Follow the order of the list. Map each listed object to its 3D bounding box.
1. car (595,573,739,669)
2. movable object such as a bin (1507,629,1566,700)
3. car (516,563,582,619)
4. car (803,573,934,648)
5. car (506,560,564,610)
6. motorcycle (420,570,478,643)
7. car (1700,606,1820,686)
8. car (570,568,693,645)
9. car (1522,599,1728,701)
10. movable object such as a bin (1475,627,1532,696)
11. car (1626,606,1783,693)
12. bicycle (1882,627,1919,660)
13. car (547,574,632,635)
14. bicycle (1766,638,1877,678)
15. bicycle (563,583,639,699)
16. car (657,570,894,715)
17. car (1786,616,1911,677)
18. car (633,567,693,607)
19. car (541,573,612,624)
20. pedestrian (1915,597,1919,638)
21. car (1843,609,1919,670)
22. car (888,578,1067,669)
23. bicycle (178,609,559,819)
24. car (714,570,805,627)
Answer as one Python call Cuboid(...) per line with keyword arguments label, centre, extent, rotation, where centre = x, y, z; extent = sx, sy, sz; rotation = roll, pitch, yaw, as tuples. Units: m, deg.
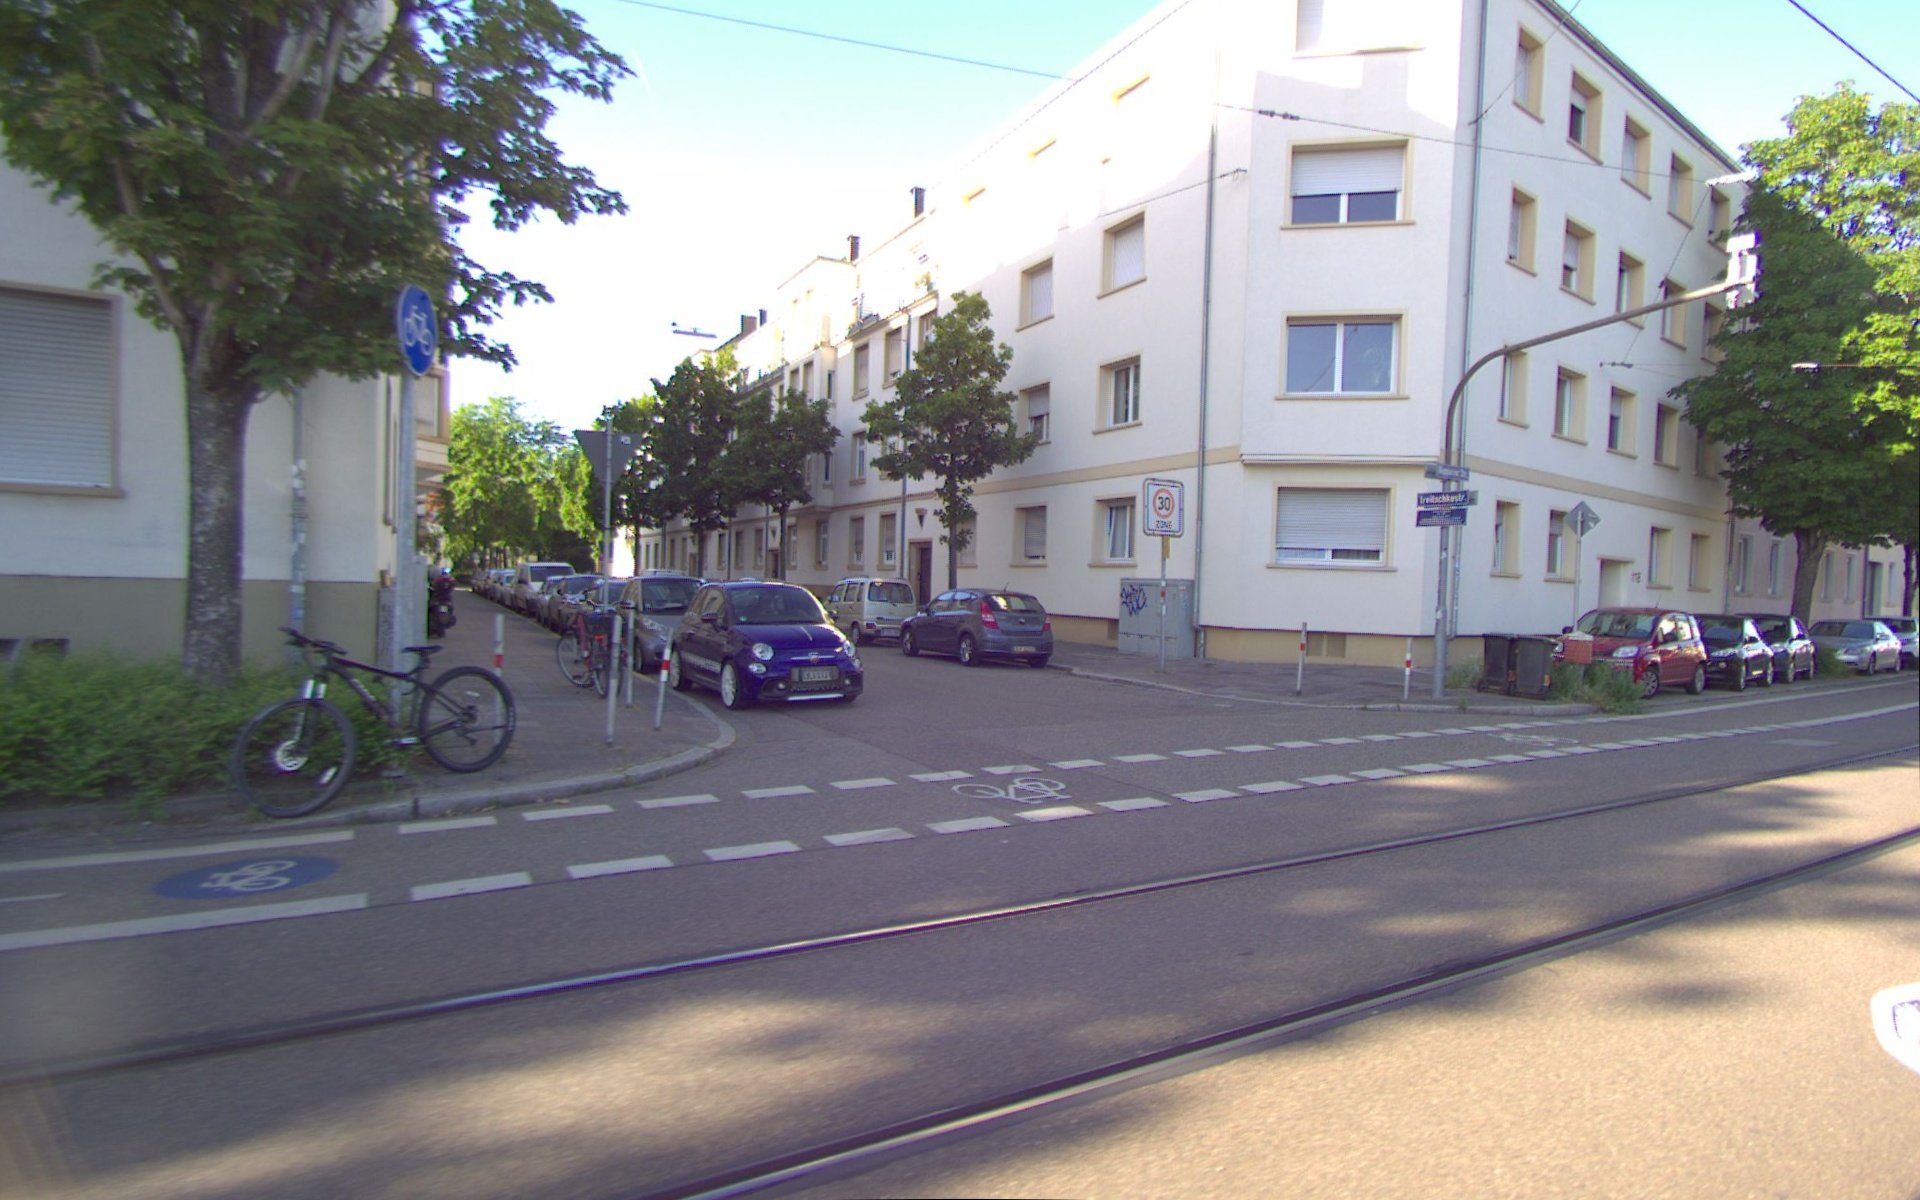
Cuboid(label="car", centre=(-5.147, 0.303, 17.375), extent=(1.560, 1.477, 3.490), rotation=(1, 1, -31))
Cuboid(label="movable object such as a bin", centre=(8.589, 0.950, 14.969), extent=(0.653, 1.001, 0.481), rotation=(1, 2, -35))
Cuboid(label="car", centre=(-14.753, -0.337, 35.944), extent=(1.720, 1.859, 3.491), rotation=(1, 1, -30))
Cuboid(label="car", centre=(-2.441, 0.228, 25.842), extent=(1.884, 1.675, 3.968), rotation=(1, 2, -29))
Cuboid(label="car", centre=(-16.873, -0.616, 39.795), extent=(1.720, 1.859, 3.491), rotation=(1, 1, -30))
Cuboid(label="motorcycle", centre=(-10.062, 0.107, 19.713), extent=(0.619, 1.324, 2.527), rotation=(3, -1, -35))
Cuboid(label="car", centre=(18.855, 1.025, 23.617), extent=(3.704, 1.635, 1.576), rotation=(1, 2, -42))
Cuboid(label="car", centre=(-7.115, 0.099, 21.483), extent=(1.690, 1.477, 4.148), rotation=(1, 1, -30))
Cuboid(label="car", centre=(12.079, 0.856, 18.186), extent=(3.959, 1.550, 1.678), rotation=(1, 3, -34))
Cuboid(label="movable object such as a bin", centre=(8.319, 0.925, 15.374), extent=(0.653, 1.001, 0.481), rotation=(1, 2, -35))
Cuboid(label="car", centre=(15.627, 0.973, 21.023), extent=(3.827, 1.550, 1.771), rotation=(1, 2, -40))
Cuboid(label="bicycle", centre=(32.644, 1.509, 34.065), extent=(0.472, 1.060, 1.911), rotation=(1, 2, -36))
Cuboid(label="car", centre=(-9.748, 0.067, 26.322), extent=(1.560, 1.477, 3.491), rotation=(0, 2, -30))
Cuboid(label="bicycle", centre=(22.401, 1.483, 26.169), extent=(0.473, 0.836, 2.111), rotation=(1, 2, -37))
Cuboid(label="bicycle", centre=(-4.306, 0.464, 11.985), extent=(0.394, 1.245, 1.491), rotation=(4, 0, -35))
Cuboid(label="car", centre=(-2.521, 0.430, 12.963), extent=(1.748, 1.477, 3.866), rotation=(1, 2, -31))
Cuboid(label="car", centre=(25.062, 1.275, 28.281), extent=(4.616, 1.495, 1.676), rotation=(1, 2, -37))
Cuboid(label="car", centre=(-14.189, -0.644, 47.809), extent=(1.884, 1.675, 3.968), rotation=(1, 2, -29))
Cuboid(label="car", centre=(-11.942, -0.074, 31.177), extent=(1.560, 1.477, 3.491), rotation=(0, 2, -30))
Cuboid(label="pedestrian", centre=(43.328, 0.805, 45.047), extent=(0.538, 1.850, 0.532), rotation=(1, 3, -38))
Cuboid(label="car", centre=(29.408, 1.205, 31.806), extent=(4.264, 1.690, 1.636), rotation=(1, 2, -42))
Cuboid(label="car", centre=(0.248, 0.417, 20.480), extent=(1.884, 1.550, 3.968), rotation=(1, 2, -29))
Cuboid(label="bicycle", centre=(-3.678, 0.659, 6.397), extent=(2.011, 1.149, 0.509), rotation=(1, 2, -35))
Cuboid(label="car", centre=(-6.826, -0.091, 33.887), extent=(1.884, 1.675, 3.968), rotation=(1, 2, -29))
